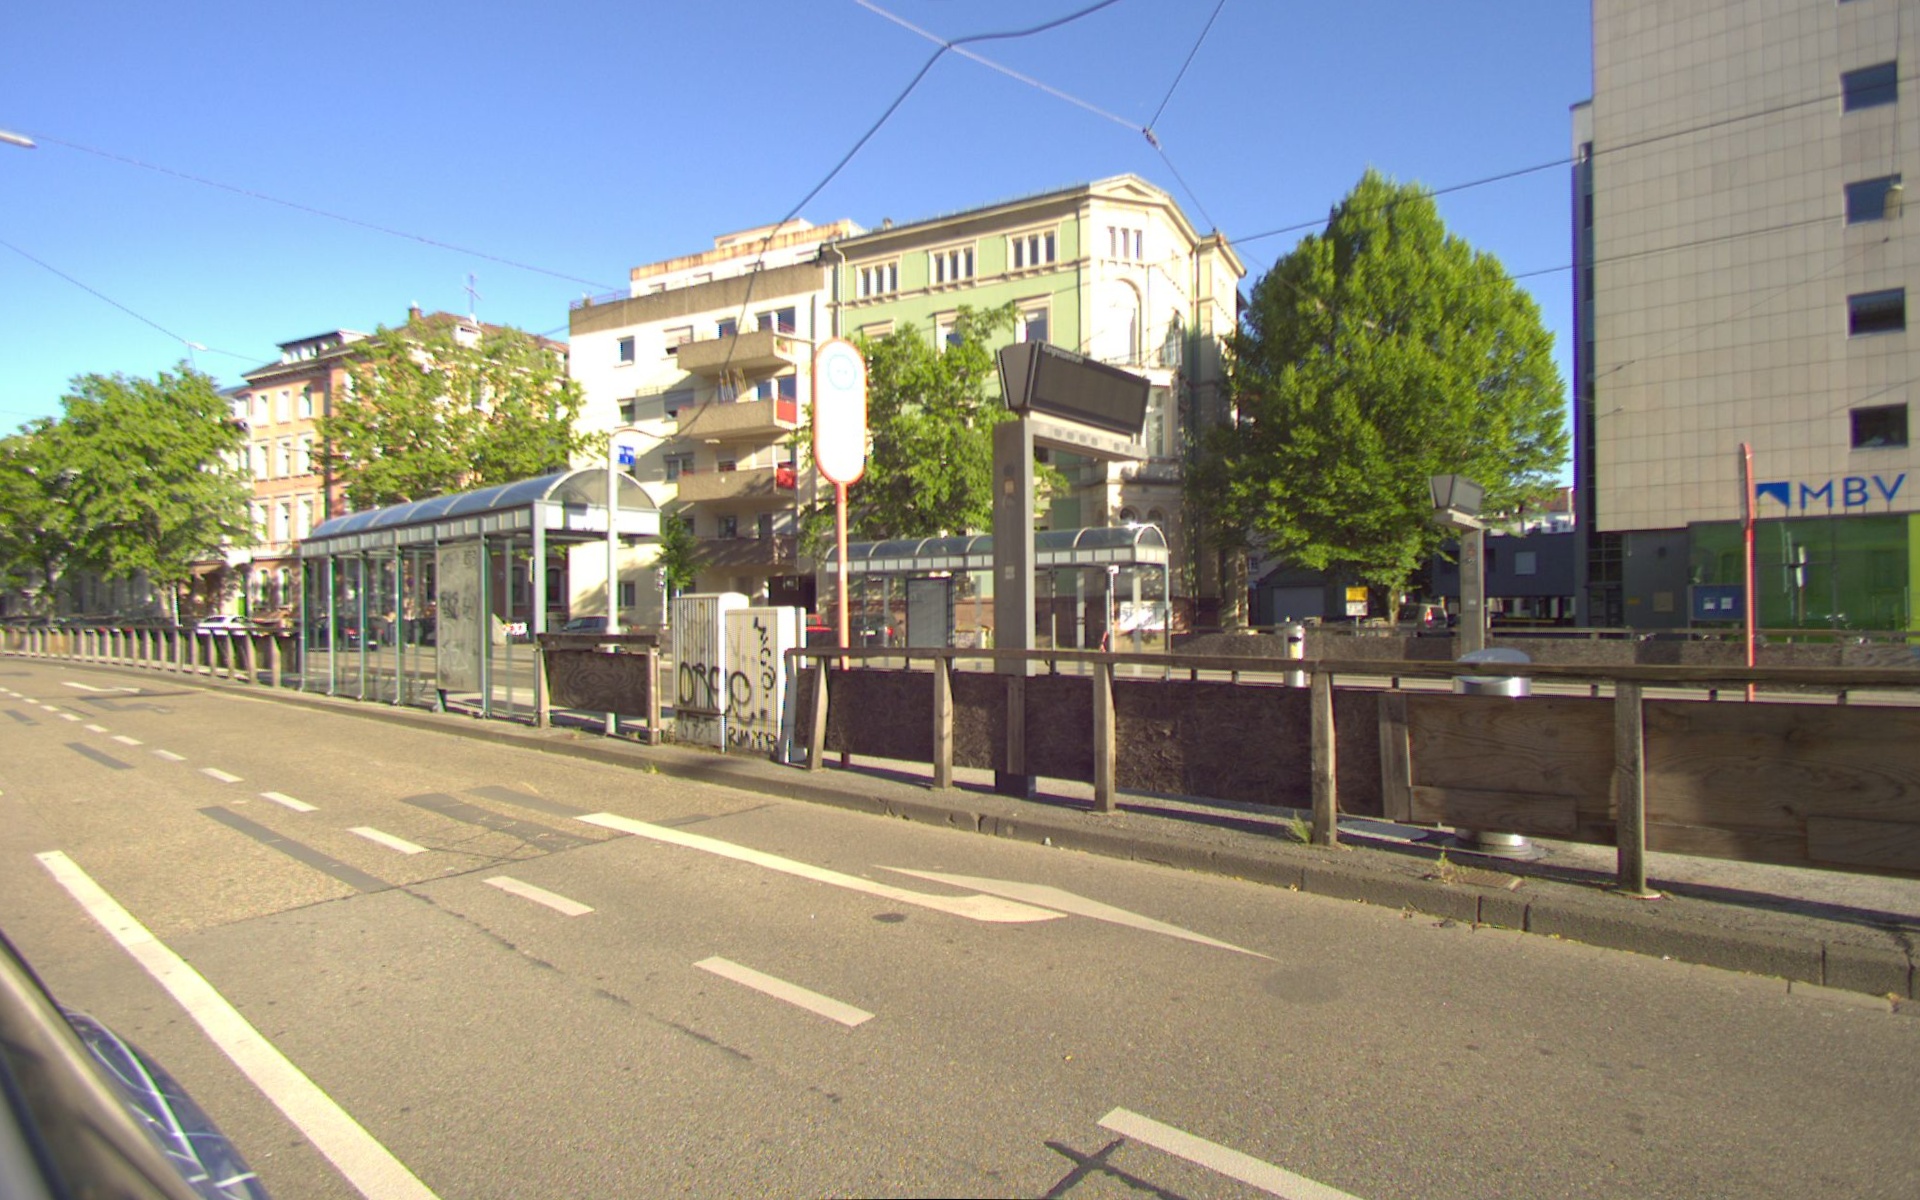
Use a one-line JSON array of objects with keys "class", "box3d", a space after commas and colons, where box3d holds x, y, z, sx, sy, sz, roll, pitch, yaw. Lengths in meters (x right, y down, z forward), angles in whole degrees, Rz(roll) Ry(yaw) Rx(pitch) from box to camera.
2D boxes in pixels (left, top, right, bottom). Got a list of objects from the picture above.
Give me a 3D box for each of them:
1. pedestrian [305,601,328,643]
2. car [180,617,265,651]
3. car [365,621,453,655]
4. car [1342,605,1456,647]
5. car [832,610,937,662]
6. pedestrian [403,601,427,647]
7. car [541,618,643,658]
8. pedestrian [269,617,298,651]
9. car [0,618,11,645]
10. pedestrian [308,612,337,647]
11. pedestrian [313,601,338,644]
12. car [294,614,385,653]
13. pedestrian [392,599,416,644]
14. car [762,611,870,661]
[{"class": "pedestrian", "box3d": [-34.229, 1.179, 53.862, 0.755, 2.224, 0.803, -1, -2, 36]}, {"class": "car", "box3d": [-39.507, 1.799, 54.357, 1.825, 1.721, 4.130, 0, -1, -5]}, {"class": "car", "box3d": [-23.806, 1.640, 43.684, 3.986, 1.407, 1.592, -1, -2, 32]}, {"class": "car", "box3d": [15.778, 0.895, 36.455, 1.544, 1.423, 3.430, -1, 0, -38]}, {"class": "car", "box3d": [-2.415, 1.166, 33.520, 1.754, 1.594, 3.965, -1, -1, 26]}, {"class": "pedestrian", "box3d": [-27.012, 1.190, 50.166, 0.753, 2.224, 0.804, -1, -2, 30]}, {"class": "car", "box3d": [-14.004, 1.430, 38.517, 3.725, 1.438, 1.637, -1, -1, 29]}, {"class": "pedestrian", "box3d": [-32.965, 1.646, 49.291, 0.888, 1.641, 0.859, -1, -2, 31]}, {"class": "car", "box3d": [-52.267, 1.687, 53.992, 3.870, 1.419, 1.650, -1, -2, 35]}, {"class": "pedestrian", "box3d": [-31.923, 1.477, 50.669, 1.016, 1.733, 0.846, -1, -2, 32]}, {"class": "pedestrian", "box3d": [-33.104, 1.165, 52.801, 0.753, 2.224, 0.804, -1, -2, 30]}, {"class": "car", "box3d": [-25.501, 1.358, 41.549, 3.988, 1.500, 1.629, -1, -2, 33]}, {"class": "pedestrian", "box3d": [-27.874, 1.096, 50.731, 0.753, 2.224, 0.804, -1, -2, 30]}, {"class": "car", "box3d": [-4.849, 1.198, 34.568, 1.754, 1.594, 3.965, -1, -1, 26]}]
